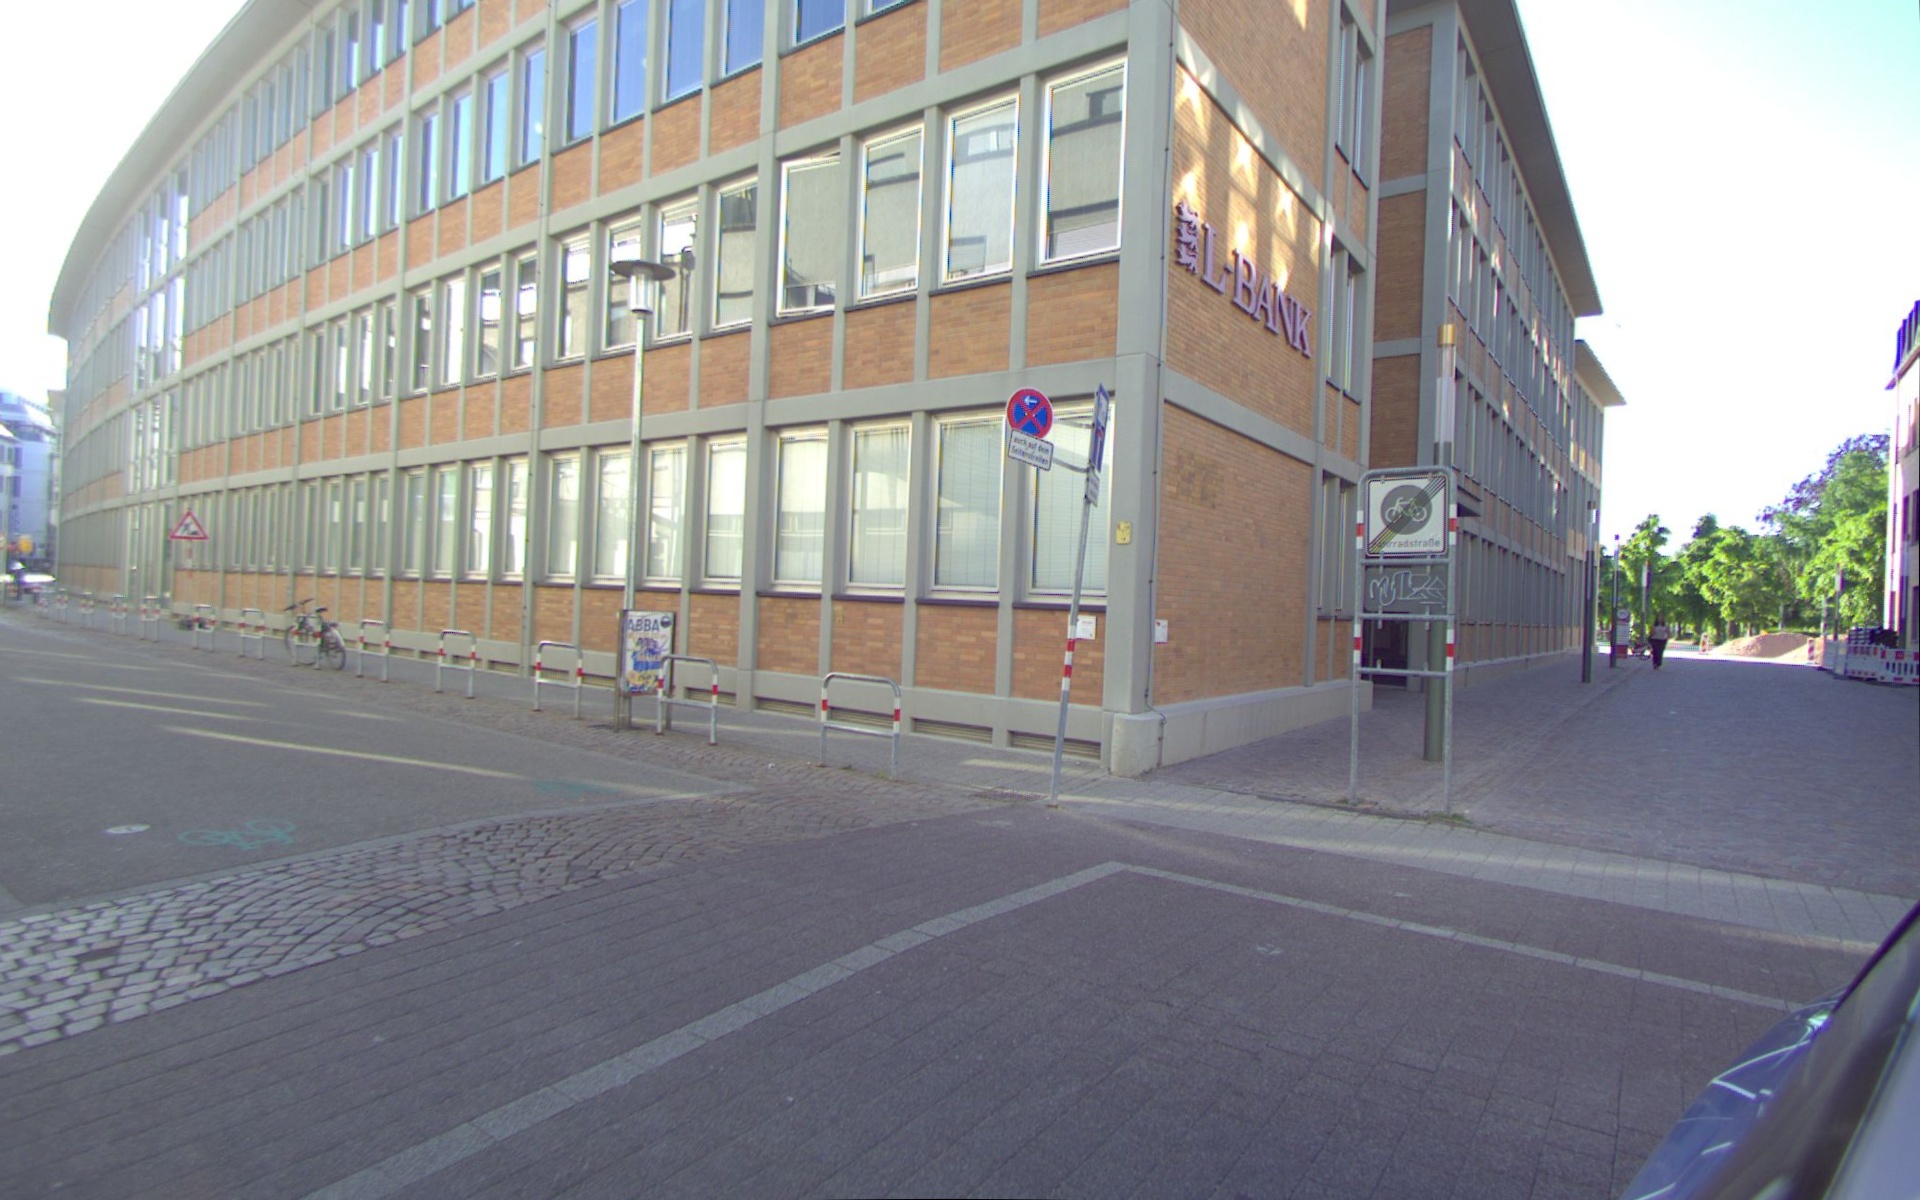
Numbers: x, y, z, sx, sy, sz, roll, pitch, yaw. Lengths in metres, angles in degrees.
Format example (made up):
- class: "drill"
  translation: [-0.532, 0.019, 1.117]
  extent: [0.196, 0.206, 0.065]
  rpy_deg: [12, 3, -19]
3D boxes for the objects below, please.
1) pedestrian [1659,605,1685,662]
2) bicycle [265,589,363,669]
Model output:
- class: "pedestrian"
  translation: [23.270, 1.105, 33.079]
  extent: [0.635, 1.808, 0.643]
  rpy_deg: [2, -2, 37]
- class: "bicycle"
  translation: [-10.157, 0.426, 15.883]
  extent: [1.919, 1.130, 0.629]
  rpy_deg: [2, 0, 37]
